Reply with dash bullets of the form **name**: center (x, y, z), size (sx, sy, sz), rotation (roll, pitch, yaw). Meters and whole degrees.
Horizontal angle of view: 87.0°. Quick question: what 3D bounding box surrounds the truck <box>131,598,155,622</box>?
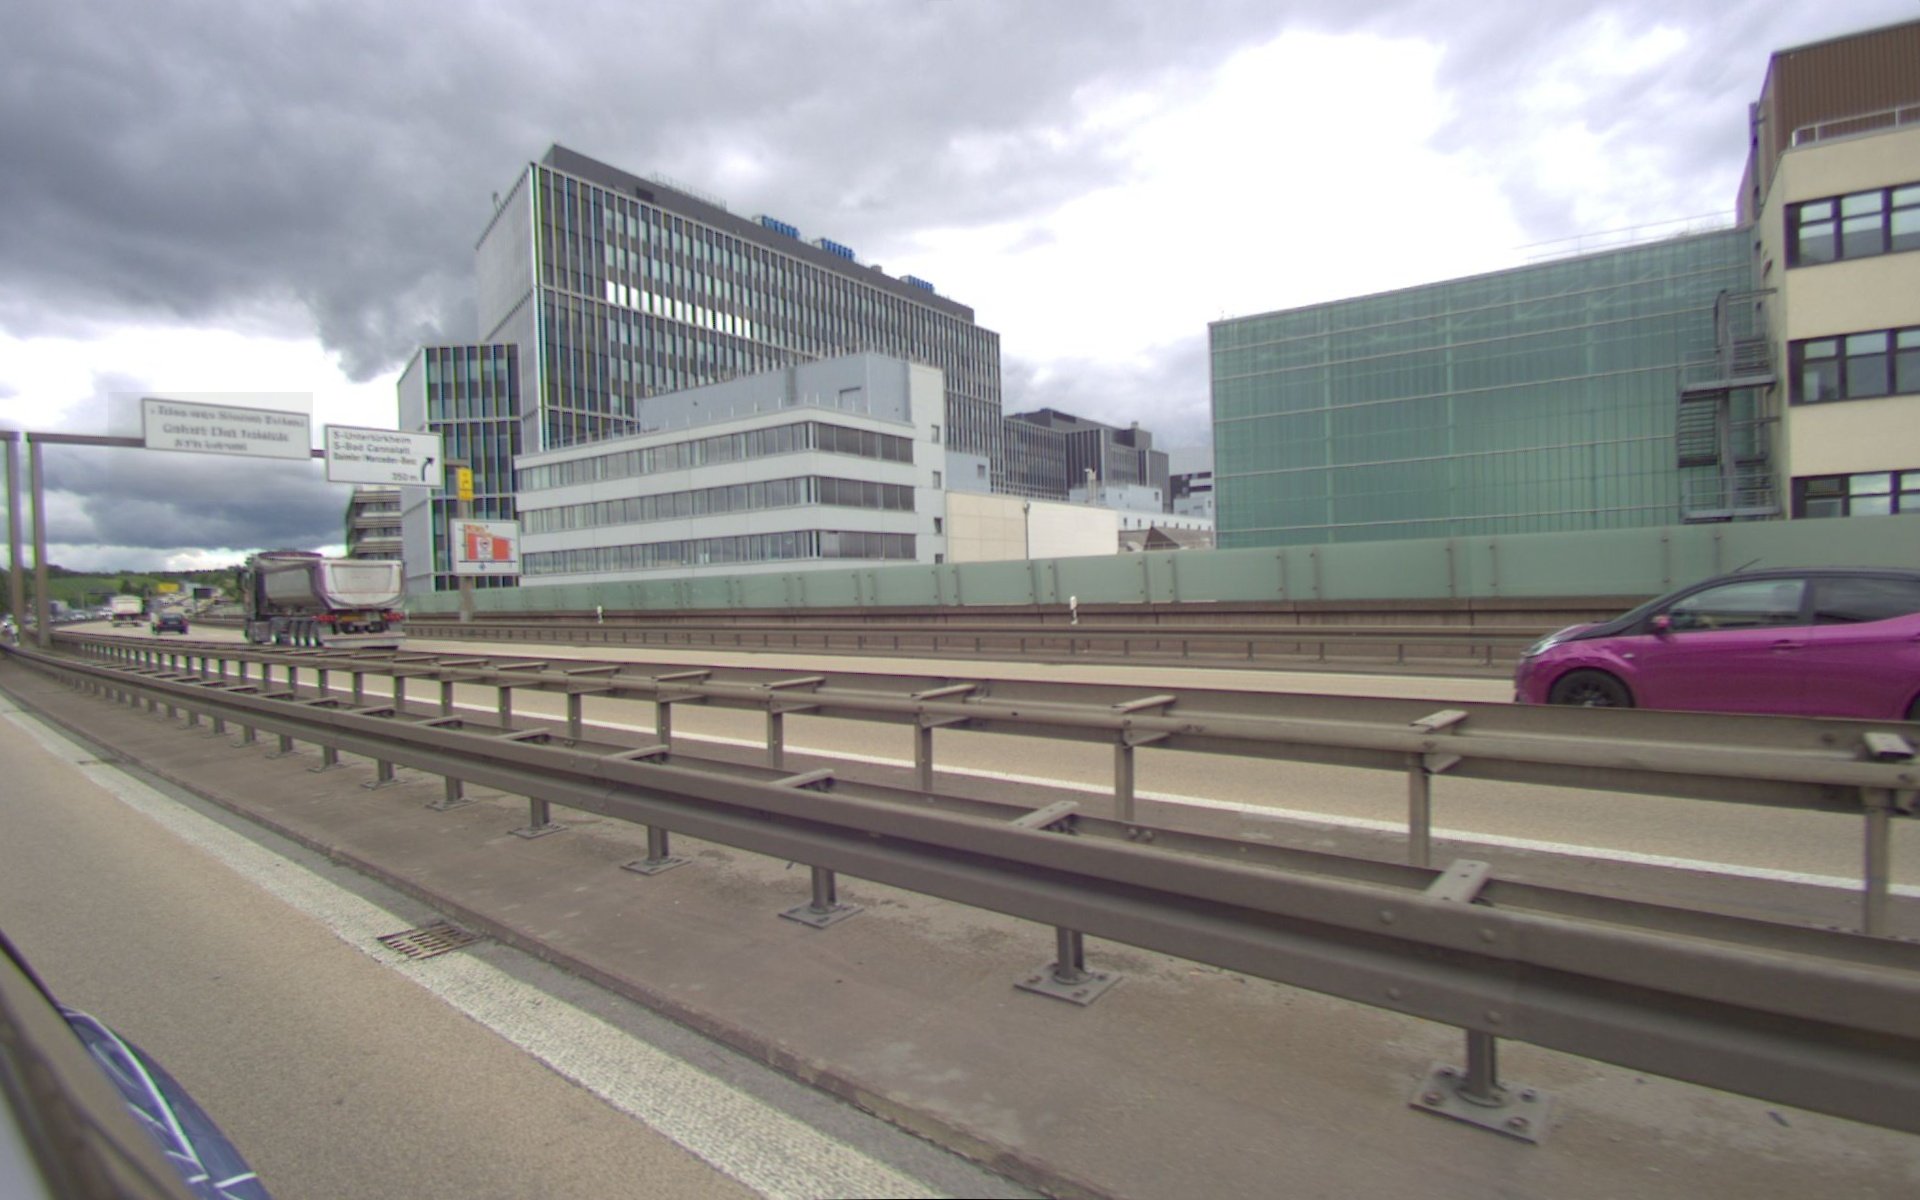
- **truck**: center (-144.919, 1.820, 179.545), size (3.018, 4.096, 11.880), rotation (0, 0, -38)

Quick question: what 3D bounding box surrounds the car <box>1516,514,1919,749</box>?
- **car**: center (7.183, 0.224, 8.249), size (4.401, 1.687, 1.975), rotation (-1, 0, 38)

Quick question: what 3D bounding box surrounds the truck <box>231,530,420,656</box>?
- **truck**: center (-22.802, -0.161, 35.890), size (12.021, 3.838, 2.779), rotation (-1, 0, 44)

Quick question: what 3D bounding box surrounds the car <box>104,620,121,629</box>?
- **car**: center (-152.078, 4.393, 181.672), size (1.970, 1.618, 4.811), rotation (0, 0, -44)

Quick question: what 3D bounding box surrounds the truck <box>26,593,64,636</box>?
- **truck**: center (-103.508, 1.602, 114.615), size (3.020, 4.597, 12.086), rotation (0, 0, -42)

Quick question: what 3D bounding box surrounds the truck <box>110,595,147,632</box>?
- **truck**: center (-92.545, 1.478, 112.627), size (3.018, 3.805, 12.540), rotation (0, 0, -40)

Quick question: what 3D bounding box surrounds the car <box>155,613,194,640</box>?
- **car**: center (-51.937, 1.704, 66.884), size (1.968, 1.687, 4.416), rotation (0, 0, -39)
